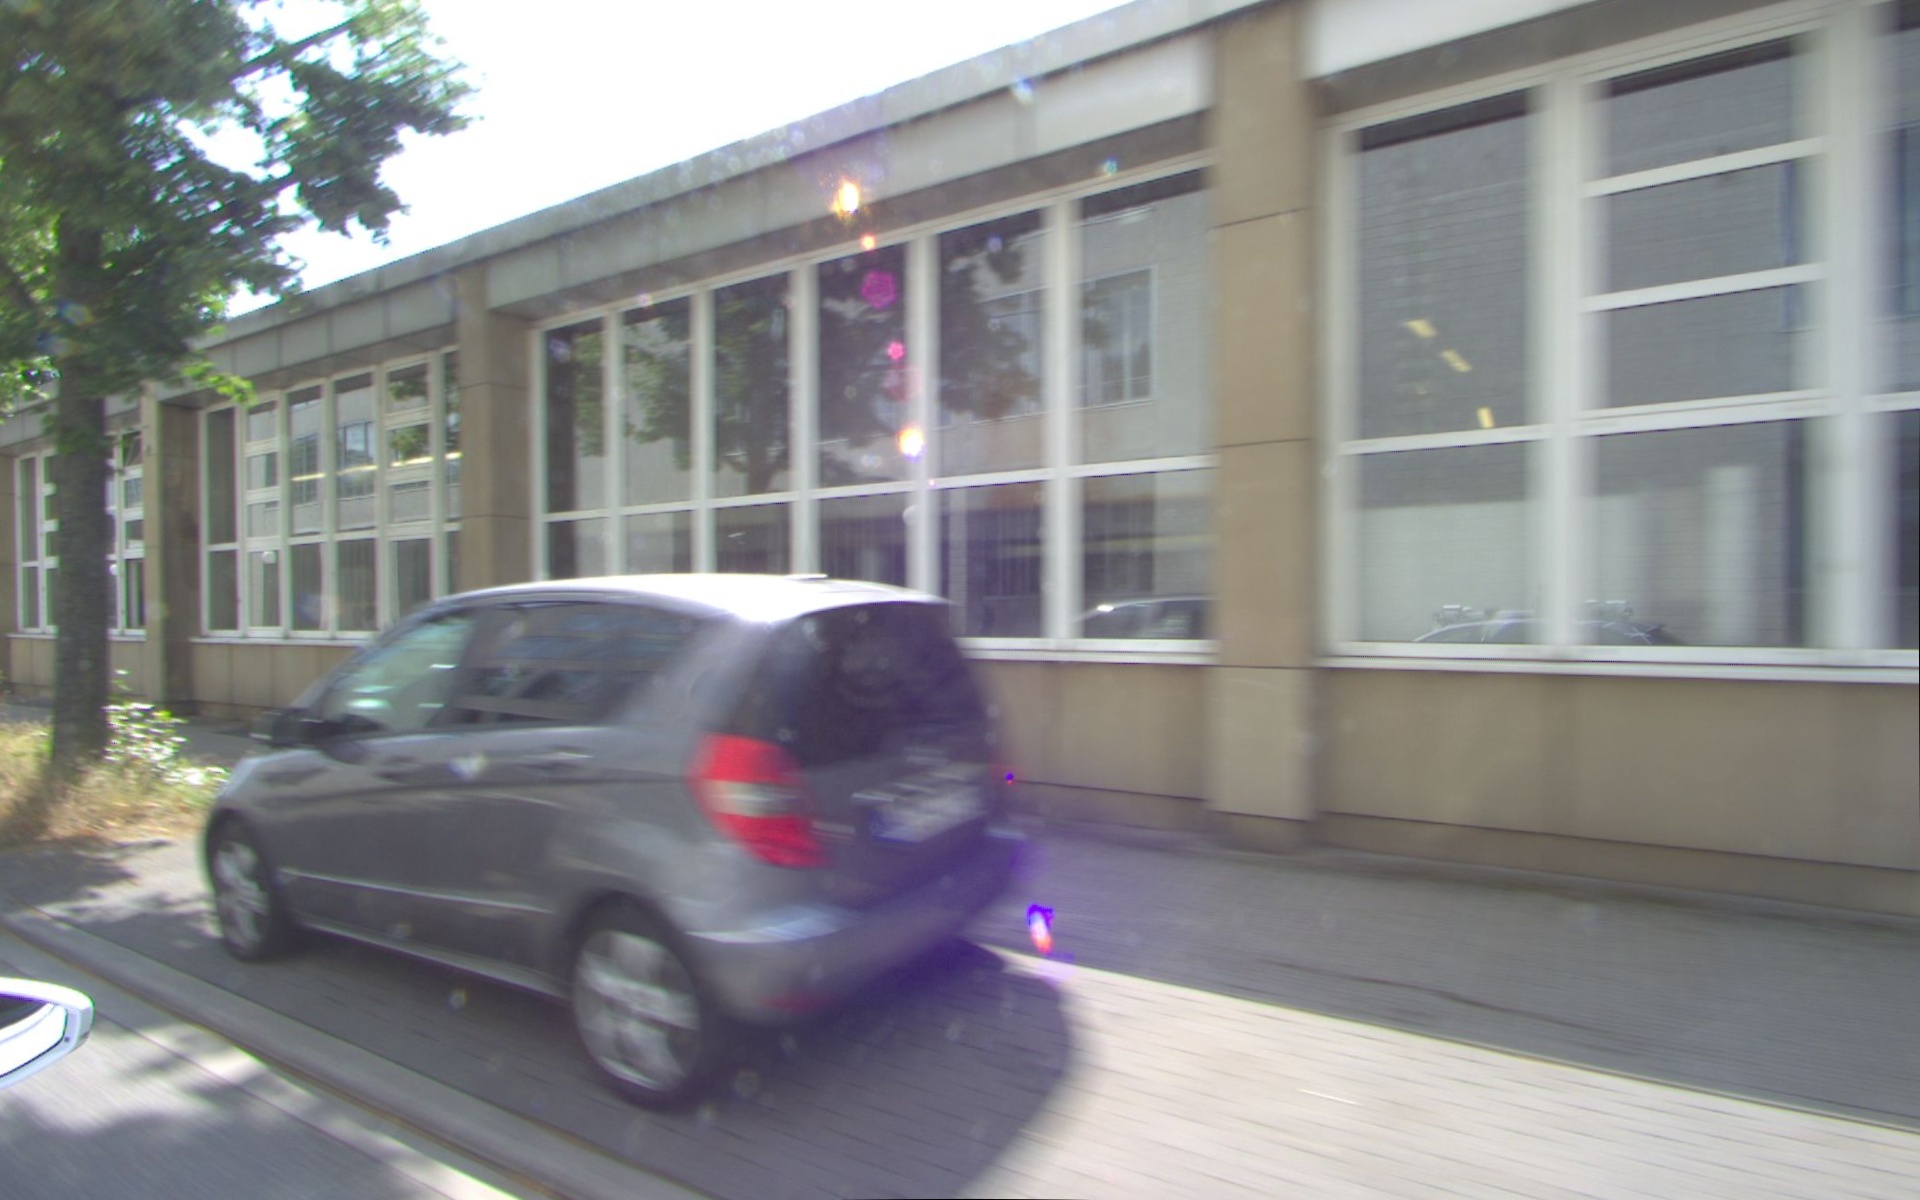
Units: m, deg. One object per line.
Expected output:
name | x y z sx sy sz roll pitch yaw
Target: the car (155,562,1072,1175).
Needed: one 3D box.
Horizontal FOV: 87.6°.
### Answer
car | -1.599 0.692 4.322 3.762 1.589 1.752 0 1 32
